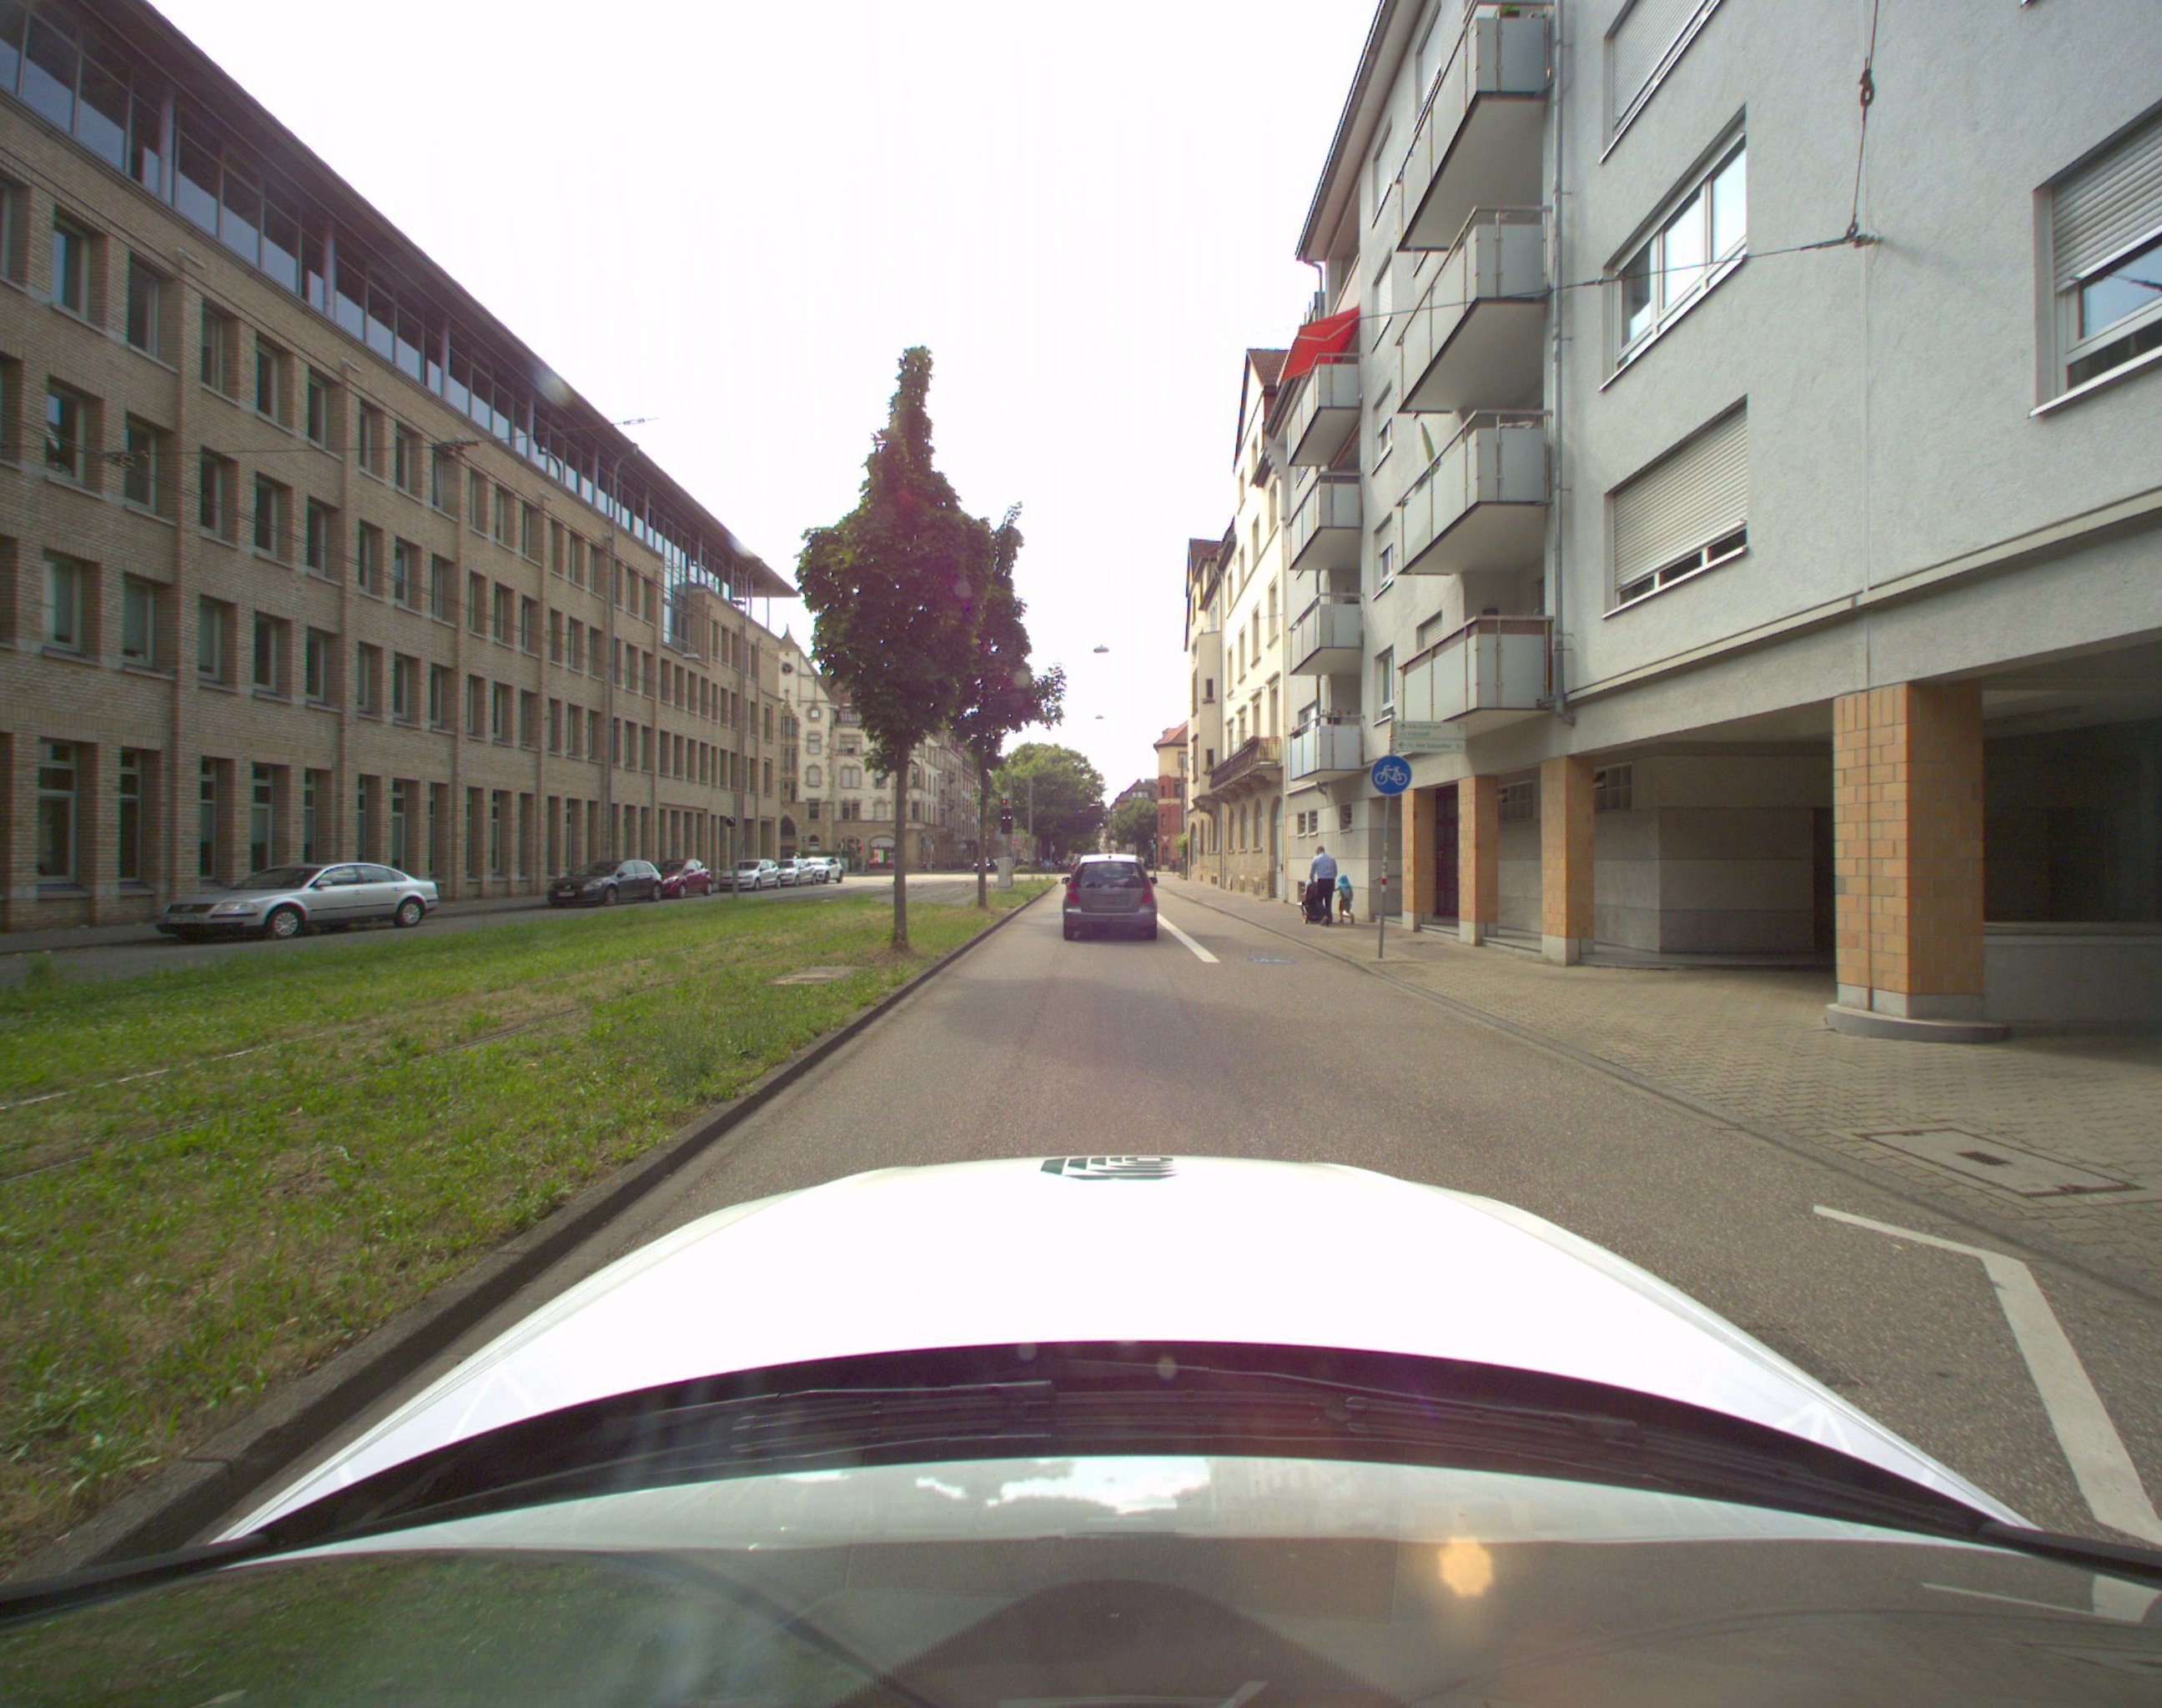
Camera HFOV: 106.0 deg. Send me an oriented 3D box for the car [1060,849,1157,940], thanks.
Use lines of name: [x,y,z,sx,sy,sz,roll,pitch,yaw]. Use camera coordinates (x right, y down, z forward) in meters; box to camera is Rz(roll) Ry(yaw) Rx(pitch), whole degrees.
car: [0.557,0.745,16.383,1.716,1.605,3.678,-1,-1,2]

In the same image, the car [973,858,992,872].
car: [-11.536,1.257,95.923,1.990,1.618,3.994,-1,-1,-4]

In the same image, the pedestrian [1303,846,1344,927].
pedestrian: [5.378,0.701,18.116,0.618,1.739,0.877,-2,-1,2]

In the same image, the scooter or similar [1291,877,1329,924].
scooter or similar: [5.318,1.068,18.972,0.590,1.002,0.906,-4,-1,2]

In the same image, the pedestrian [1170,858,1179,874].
pedestrian: [9.519,1.187,82.840,0.865,1.657,0.737,0,-1,5]

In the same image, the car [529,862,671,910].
car: [-15.375,0.964,26.335,1.925,1.396,4.241,0,0,2]

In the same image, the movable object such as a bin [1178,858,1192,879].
movable object such as a bin: [7.554,1.065,59.150,0.714,1.472,0.980,-1,-1,-8]

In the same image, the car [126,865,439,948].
car: [-15.536,0.928,16.285,1.708,1.396,4.486,0,0,2]

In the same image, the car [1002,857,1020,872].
car: [-8.356,1.258,97.383,1.990,1.728,3.994,-1,-1,-4]

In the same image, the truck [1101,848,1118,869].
truck: [4.091,0.671,116.615,2.113,2.970,4.005,-1,-1,5]

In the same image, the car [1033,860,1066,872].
car: [-3.834,1.446,98.619,1.984,1.339,3.954,1,-1,-38]

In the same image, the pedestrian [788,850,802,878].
pedestrian: [-18.452,0.653,52.482,0.763,1.795,0.952,0,-1,-24]

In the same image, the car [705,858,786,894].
car: [-15.250,0.961,37.262,1.844,1.531,4.212,0,0,2]

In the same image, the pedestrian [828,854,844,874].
pedestrian: [-20.680,0.824,68.782,1.029,1.722,0.767,1,-1,-43]

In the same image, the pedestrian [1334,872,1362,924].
pedestrian: [5.988,0.975,18.293,0.454,1.135,0.494,-1,-1,1]

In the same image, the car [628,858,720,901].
car: [-15.336,0.924,30.903,1.576,1.531,3.551,0,0,2]

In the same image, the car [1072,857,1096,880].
car: [0.273,1.085,61.663,1.716,1.706,3.678,-1,-1,2]

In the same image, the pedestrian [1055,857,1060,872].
pedestrian: [-2.729,1.153,93.850,0.492,1.725,0.653,0,-1,-5]

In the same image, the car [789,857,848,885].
car: [-15.182,0.949,47.350,1.925,1.535,4.260,0,0,2]

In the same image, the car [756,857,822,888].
car: [-15.288,0.949,42.857,1.925,1.531,4.016,0,0,2]
